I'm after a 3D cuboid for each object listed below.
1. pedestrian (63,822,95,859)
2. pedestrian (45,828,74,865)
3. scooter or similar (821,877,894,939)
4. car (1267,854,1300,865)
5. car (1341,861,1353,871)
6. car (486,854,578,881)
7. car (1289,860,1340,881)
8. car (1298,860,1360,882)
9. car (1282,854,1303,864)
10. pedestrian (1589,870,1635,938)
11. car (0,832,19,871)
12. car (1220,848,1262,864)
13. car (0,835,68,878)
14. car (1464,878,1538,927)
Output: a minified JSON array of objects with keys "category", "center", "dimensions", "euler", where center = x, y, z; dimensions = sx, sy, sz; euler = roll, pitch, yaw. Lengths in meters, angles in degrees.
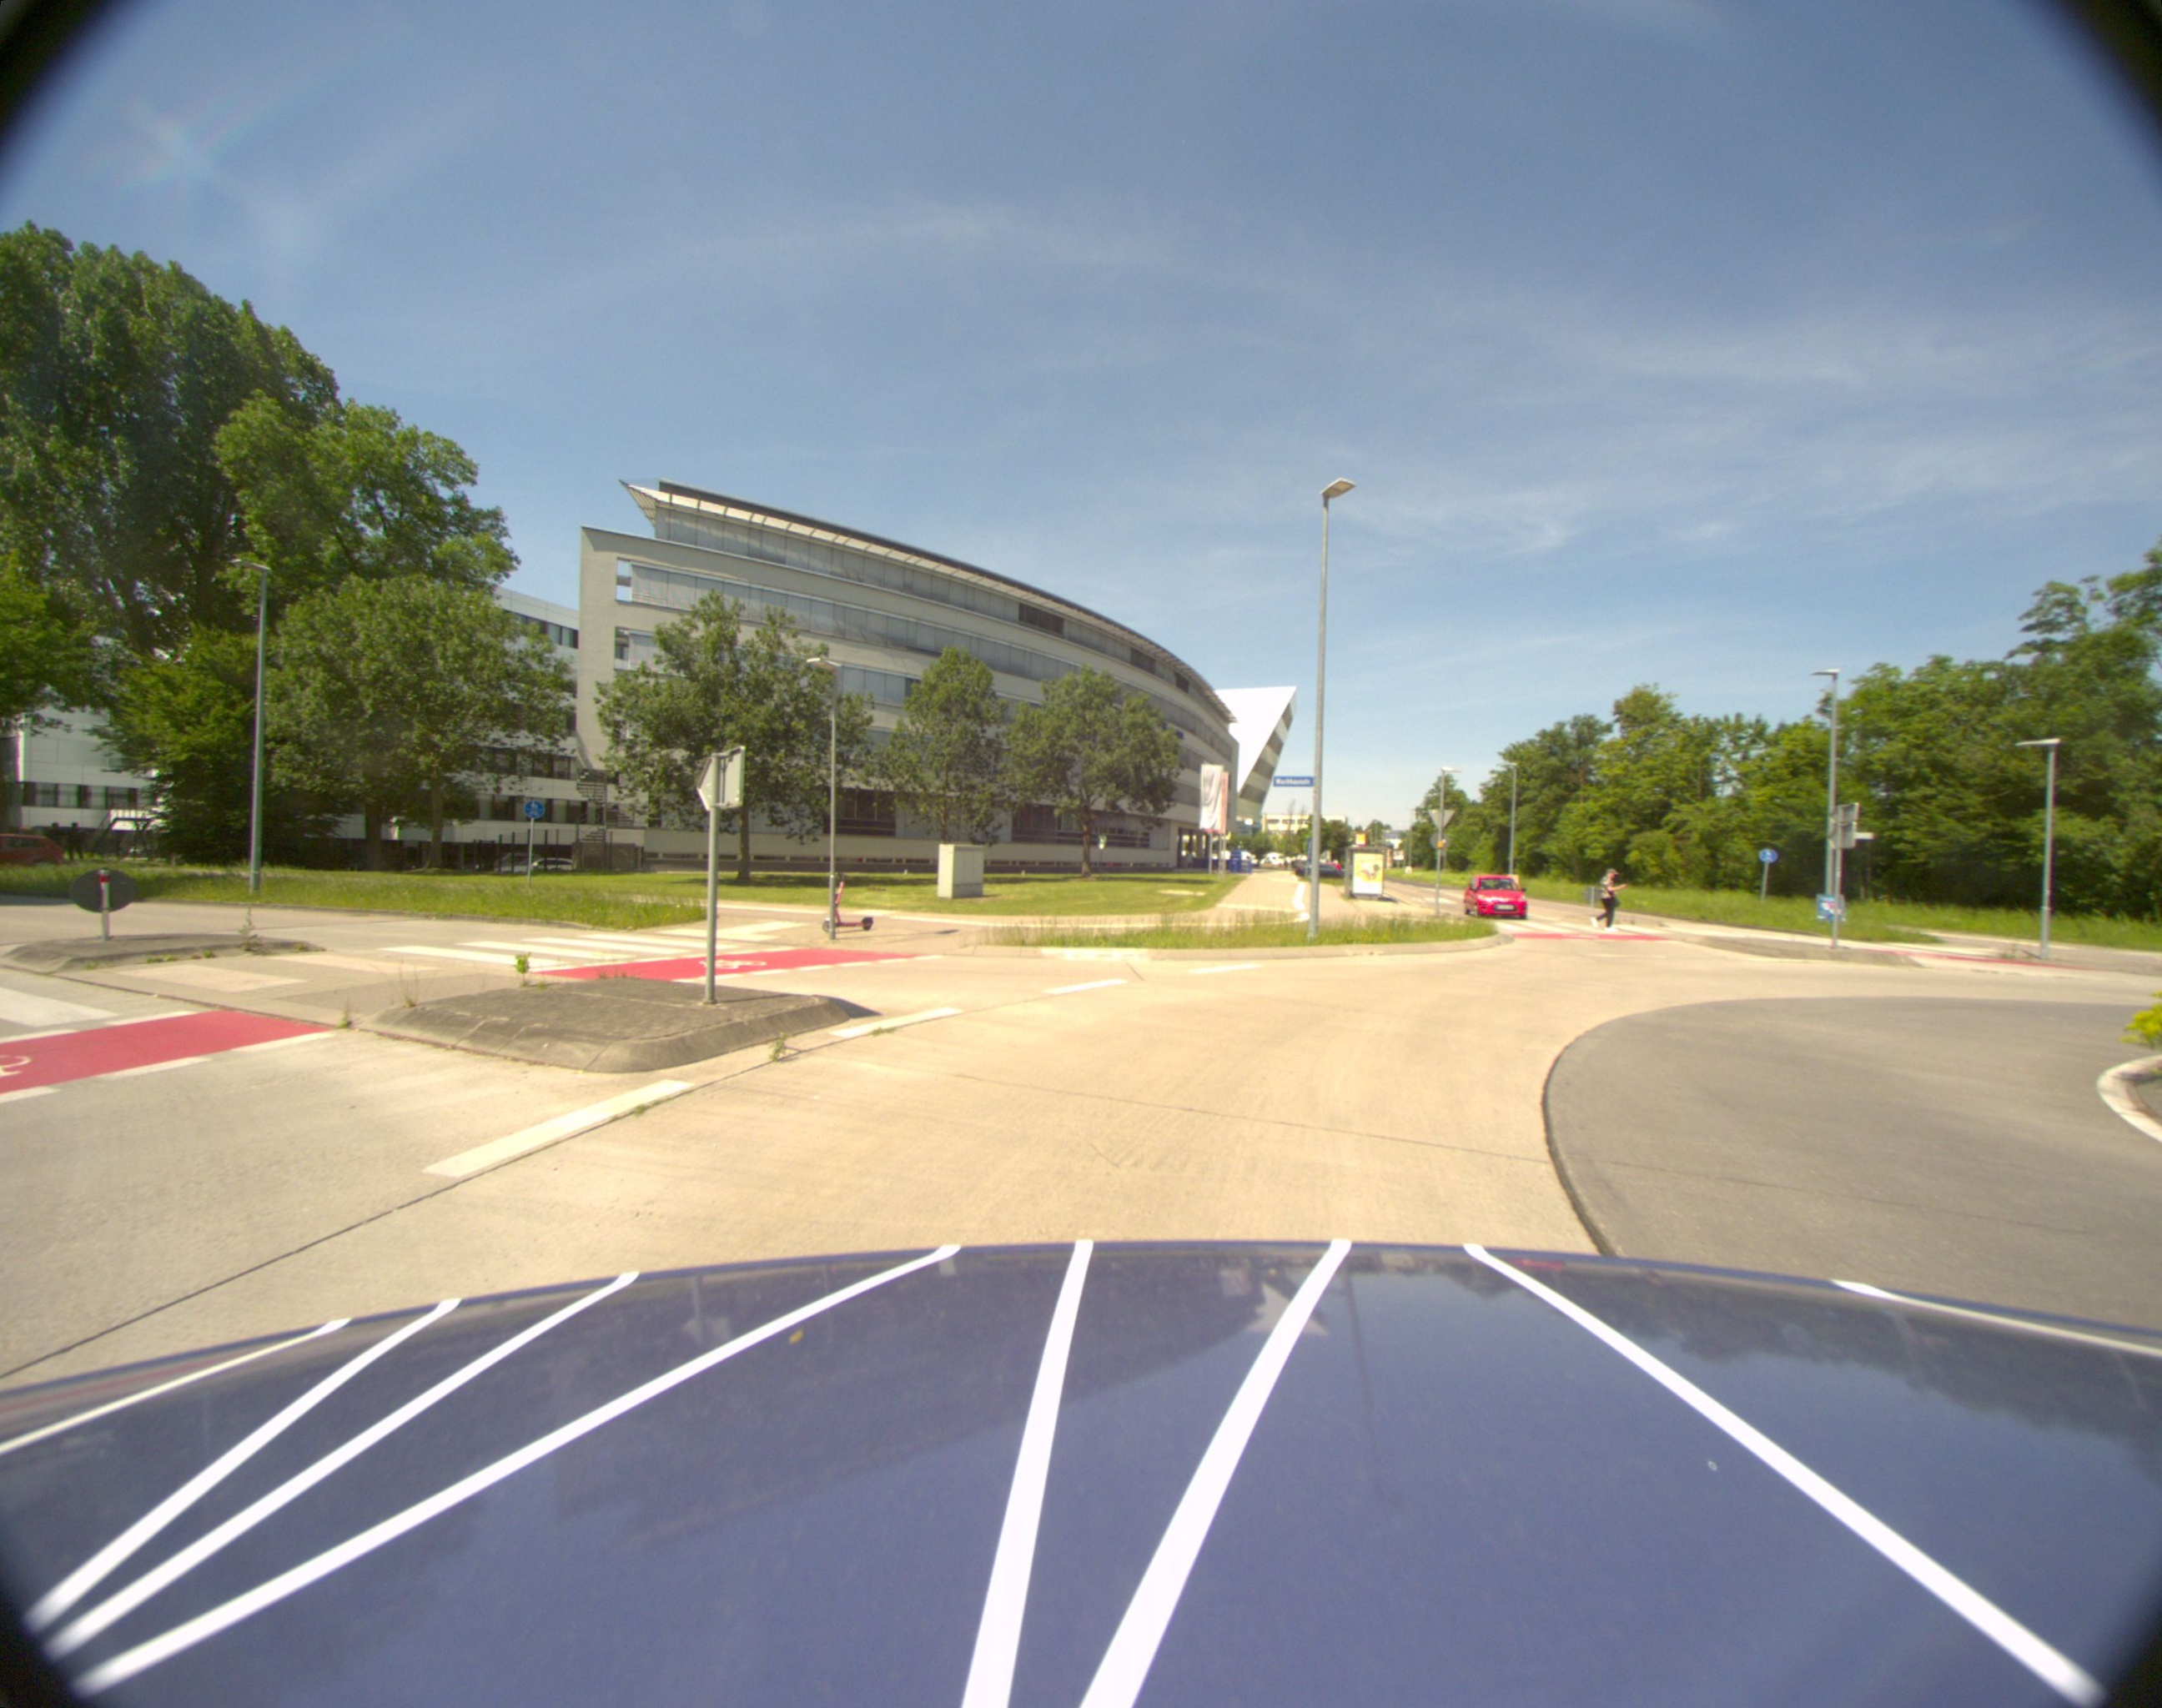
[{"category":"pedestrian","center":[-44.000,-0.588,33.370],"dimensions":[0.643,1.599,0.572],"euler":[1,1,6]},{"category":"pedestrian","center":[-44.027,-0.323,32.743],"dimensions":[0.485,1.607,0.588],"euler":[1,1,8]},{"category":"scooter or similar","center":[-4.583,1.081,15.621],"dimensions":[0.446,1.194,1.402],"euler":[2,1,43]},{"category":"car","center":[42.904,1.112,160.912],"dimensions":[6.484,2.137,2.168],"euler":[1,1,21]},{"category":"car","center":[48.030,2.126,137.208],"dimensions":[1.778,1.587,4.004],"euler":[1,0,14]},{"category":"car","center":[-33.931,0.777,47.115],"dimensions":[1.849,1.559,4.363],"euler":[1,0,20]},{"category":"car","center":[20.019,1.398,65.189],"dimensions":[3.991,1.645,1.841],"euler":[2,1,17]},{"category":"car","center":[20.241,1.368,62.199],"dimensions":[4.573,1.424,1.829],"euler":[4,1,14]},{"category":"car","center":[46.205,1.120,165.978],"dimensions":[4.199,1.964,1.706],"euler":[1,1,21]},{"category":"pedestrian","center":[15.032,1.403,21.525],"dimensions":[0.709,1.812,0.827],"euler":[4,2,15]},{"category":"car","center":[-42.745,-0.106,28.049],"dimensions":[1.865,1.474,3.689],"euler":[1,0,16]},{"category":"car","center":[28.726,0.385,136.165],"dimensions":[6.953,2.647,2.258],"euler":[1,1,24]},{"category":"car","center":[-38.134,0.068,26.025],"dimensions":[1.865,1.474,3.689],"euler":[1,0,16]},{"category":"car","center":[15.022,1.676,27.357],"dimensions":[1.660,1.494,3.361],"euler":[1,0,17]}]
